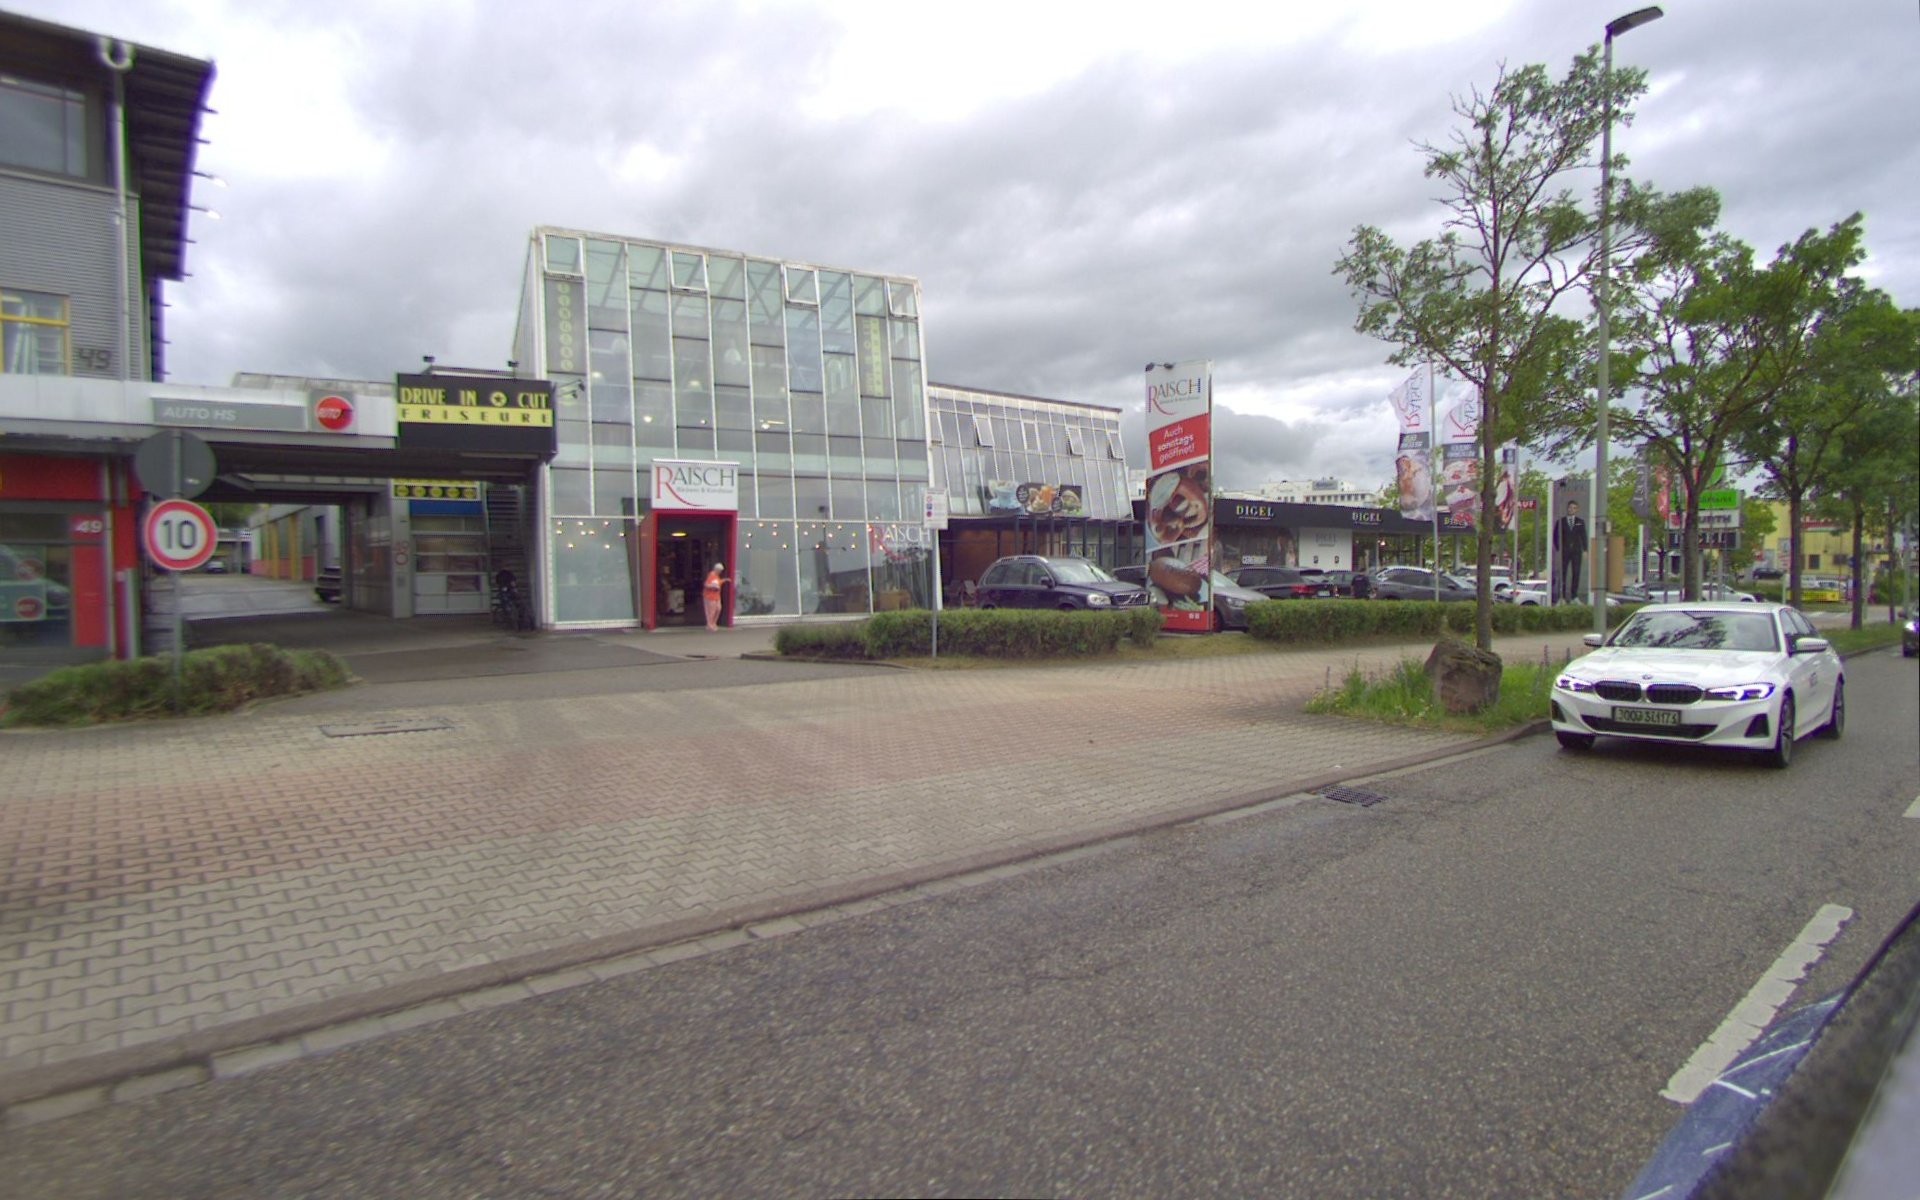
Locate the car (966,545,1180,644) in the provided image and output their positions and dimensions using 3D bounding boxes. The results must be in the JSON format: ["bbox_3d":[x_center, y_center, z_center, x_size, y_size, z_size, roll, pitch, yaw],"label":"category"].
[{"bbox_3d":[2.138,-0.192,20.615,1.887,1.620,4.680,1,4,-30],"label":"car"}]

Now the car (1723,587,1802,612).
[{"bbox_3d":[53.549,-0.069,67.563,1.716,1.528,3.988,-4,4,-45],"label":"car"}]

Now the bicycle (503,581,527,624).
[{"bbox_3d":[-12.108,0.053,27.562,0.490,1.121,1.804,-1,2,-21],"label":"bicycle"}]

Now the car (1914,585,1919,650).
[{"bbox_3d":[25.939,0.417,25.924,4.145,1.601,1.797,0,0,-41],"label":"car"}]

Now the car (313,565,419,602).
[{"bbox_3d":[-25.939,-0.714,44.347,3.919,1.529,1.803,0,1,-29],"label":"car"}]

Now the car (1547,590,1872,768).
[{"bbox_3d":[7.891,0.639,10.488,4.463,1.458,1.806,0,0,-41],"label":"car"}]

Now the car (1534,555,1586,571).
[{"bbox_3d":[73.919,-4.543,124.659,1.998,1.819,5.091,0,2,-40],"label":"car"}]

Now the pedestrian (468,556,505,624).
[{"bbox_3d":[-12.750,-0.277,27.281,0.795,1.799,0.863,-1,1,-21],"label":"pedestrian"}]

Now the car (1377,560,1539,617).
[{"bbox_3d":[15.754,-0.418,32.179,1.830,1.490,4.180,0,5,-40],"label":"car"}]

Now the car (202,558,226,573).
[{"bbox_3d":[-76.601,-3.535,103.930,1.765,1.529,4.001,0,1,-34],"label":"car"}]

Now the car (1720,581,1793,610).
[{"bbox_3d":[47.658,-0.277,60.664,1.715,1.599,3.864,2,1,10],"label":"car"}]

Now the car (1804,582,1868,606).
[{"bbox_3d":[73.995,-0.552,85.573,3.980,1.834,1.744,3,2,39],"label":"car"}]

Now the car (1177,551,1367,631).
[{"bbox_3d":[7.597,-0.280,25.005,1.766,1.620,4.184,0,5,-36],"label":"car"}]

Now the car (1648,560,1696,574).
[{"bbox_3d":[79.402,-3.709,112.888,1.768,1.529,3.996,0,2,-40],"label":"car"}]

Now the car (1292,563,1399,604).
[{"bbox_3d":[16.881,-0.734,44.442,3.974,1.495,1.798,3,5,7],"label":"car"}]

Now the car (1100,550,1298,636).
[{"bbox_3d":[5.338,-0.233,23.098,1.794,1.620,4.184,0,5,-36],"label":"car"}]

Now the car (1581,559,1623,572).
[{"bbox_3d":[83.396,-4.449,131.561,1.791,1.601,4.220,0,2,-40],"label":"car"}]

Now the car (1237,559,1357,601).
[{"bbox_3d":[14.074,-0.858,42.505,4.423,1.412,1.797,3,5,8],"label":"car"}]

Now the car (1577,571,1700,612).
[{"bbox_3d":[29.342,-0.388,43.877,3.950,1.454,1.741,3,4,7],"label":"car"}]

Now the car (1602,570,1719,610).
[{"bbox_3d":[33.499,-0.516,48.503,4.113,1.598,1.738,3,4,12],"label":"car"}]

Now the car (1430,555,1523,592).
[{"bbox_3d":[28.442,-1.475,55.833,4.044,1.766,1.799,3,5,6],"label":"car"}]

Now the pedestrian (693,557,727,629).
[{"bbox_3d":[-6.324,-0.194,25.644,0.735,1.781,0.686,-1,1,-8],"label":"pedestrian"}]

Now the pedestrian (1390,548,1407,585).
[{"bbox_3d":[24.447,-1.864,56.433,0.646,2.039,0.612,-1,0,-40],"label":"pedestrian"}]

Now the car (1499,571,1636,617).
[{"bbox_3d":[23.605,-0.262,39.479,4.121,1.490,1.784,4,4,14],"label":"car"}]

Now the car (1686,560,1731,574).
[{"bbox_3d":[89.460,-3.941,120.953,1.768,1.529,3.996,0,2,-40],"label":"car"}]

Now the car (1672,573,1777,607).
[{"bbox_3d":[42.379,-0.589,56.162,4.237,1.598,1.743,3,3,4],"label":"car"}]

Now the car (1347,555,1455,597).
[{"bbox_3d":[21.385,-1.177,49.242,4.429,1.701,1.795,3,5,12],"label":"car"}]

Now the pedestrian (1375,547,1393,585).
[{"bbox_3d":[23.127,-1.836,55.199,0.646,2.039,0.612,-1,0,-40],"label":"pedestrian"}]

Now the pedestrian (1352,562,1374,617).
[{"bbox_3d":[13.594,-0.355,34.134,0.625,1.812,0.845,-1,0,20],"label":"pedestrian"}]

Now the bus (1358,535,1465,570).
[{"bbox_3d":[52.338,-5.350,116.845,17.024,3.556,4.101,0,2,-40],"label":"bus"}]
